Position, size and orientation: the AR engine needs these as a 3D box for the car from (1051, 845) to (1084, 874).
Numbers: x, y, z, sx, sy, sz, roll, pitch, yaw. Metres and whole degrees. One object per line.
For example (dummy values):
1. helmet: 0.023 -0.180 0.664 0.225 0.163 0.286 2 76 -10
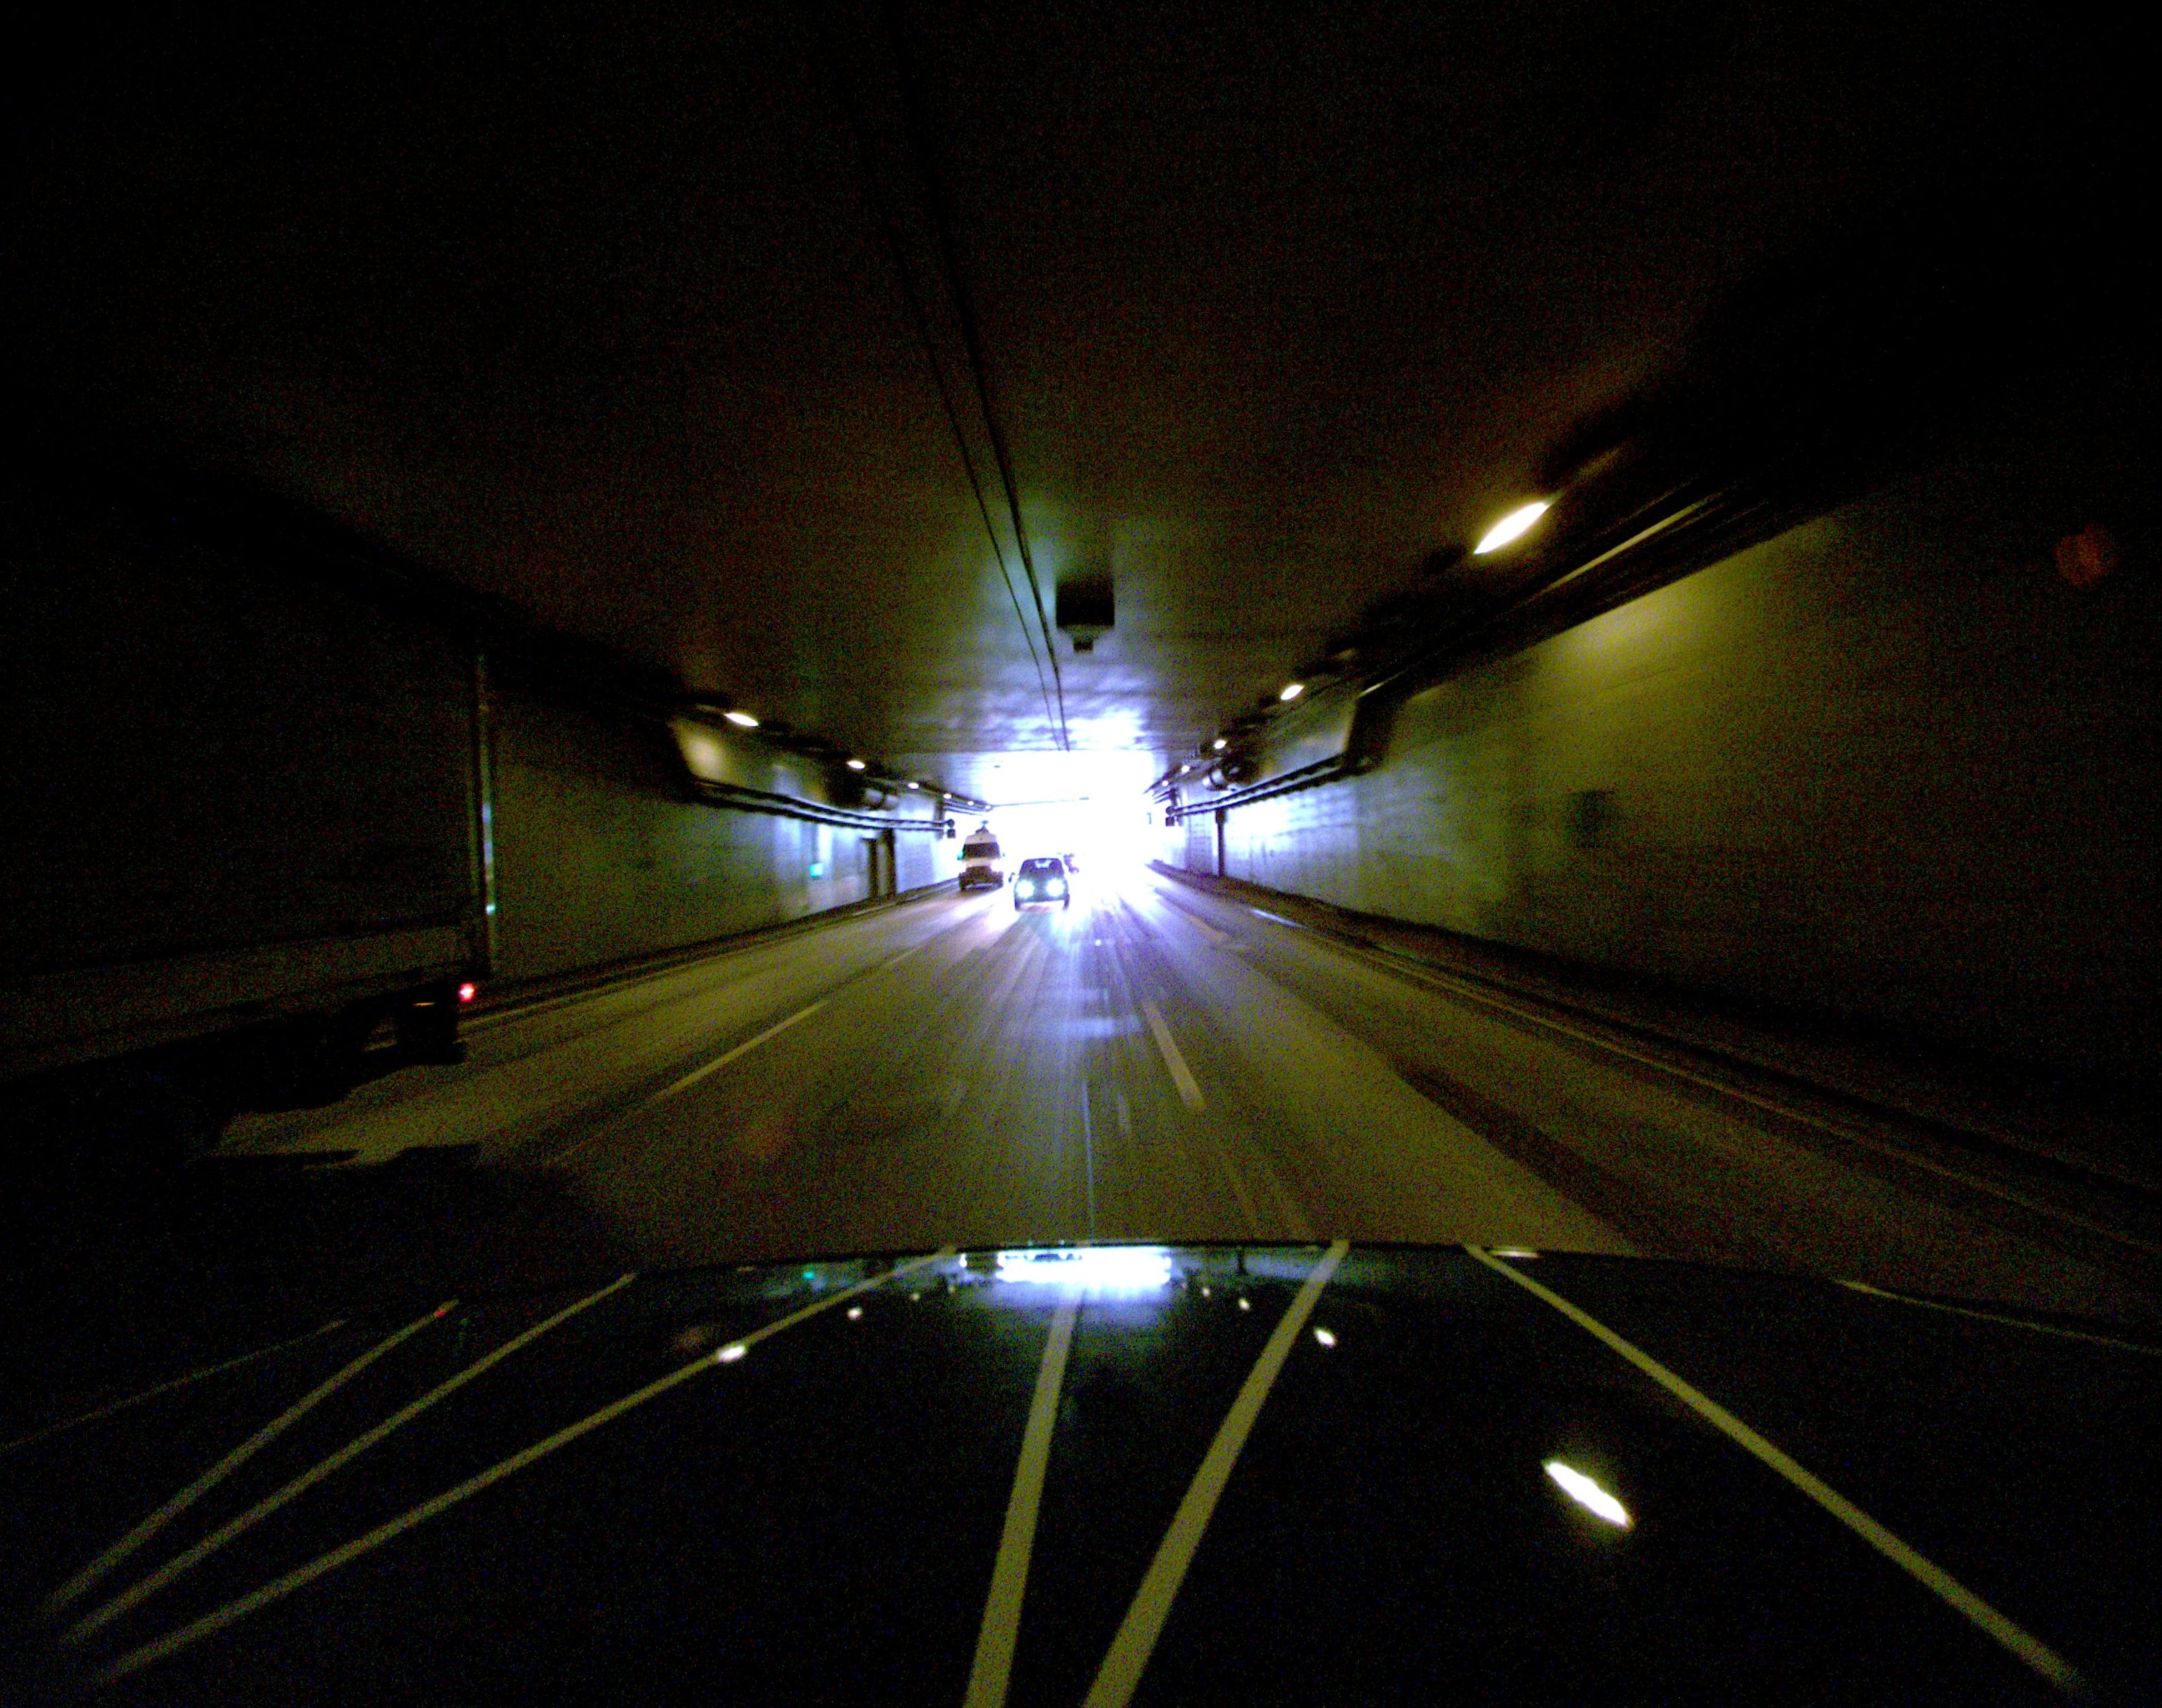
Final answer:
1. car: -0.785 0.293 46.406 1.764 1.552 3.818 -5 0 1

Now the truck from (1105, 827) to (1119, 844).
1. truck: 6.201 -3.757 150.374 2.493 3.122 6.374 -3 3 3

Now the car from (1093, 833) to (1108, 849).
1. car: 2.293 -1.560 88.778 1.639 1.662 3.715 -4 3 3

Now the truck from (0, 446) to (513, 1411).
1. truck: -4.794 0.259 1.087 2.560 3.162 7.244 -2 0 -1

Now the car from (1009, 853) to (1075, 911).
1. car: -1.128 0.801 23.697 1.639 1.552 3.716 -3 1 3

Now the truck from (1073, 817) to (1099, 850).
1. truck: 0.801 -3.130 112.153 2.886 4.448 10.452 -3 3 4

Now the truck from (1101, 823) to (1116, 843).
1. truck: 4.990 -3.831 139.680 2.493 3.370 6.374 -3 3 3

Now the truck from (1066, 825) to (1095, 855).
1. truck: 0.005 -1.401 72.904 2.073 2.526 6.023 -3 3 6

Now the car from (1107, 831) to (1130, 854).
1. car: 3.562 -1.125 72.338 1.935 1.919 4.196 -4 2 3

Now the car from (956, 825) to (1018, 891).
1. car: -4.444 0.091 37.039 2.107 2.831 6.858 -2 2 0

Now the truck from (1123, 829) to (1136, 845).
1. truck: 9.196 -3.267 143.822 2.138 2.713 5.669 -3 3 3

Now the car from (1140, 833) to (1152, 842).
1. car: 13.042 -3.268 152.247 1.950 1.525 3.998 -4 3 2
